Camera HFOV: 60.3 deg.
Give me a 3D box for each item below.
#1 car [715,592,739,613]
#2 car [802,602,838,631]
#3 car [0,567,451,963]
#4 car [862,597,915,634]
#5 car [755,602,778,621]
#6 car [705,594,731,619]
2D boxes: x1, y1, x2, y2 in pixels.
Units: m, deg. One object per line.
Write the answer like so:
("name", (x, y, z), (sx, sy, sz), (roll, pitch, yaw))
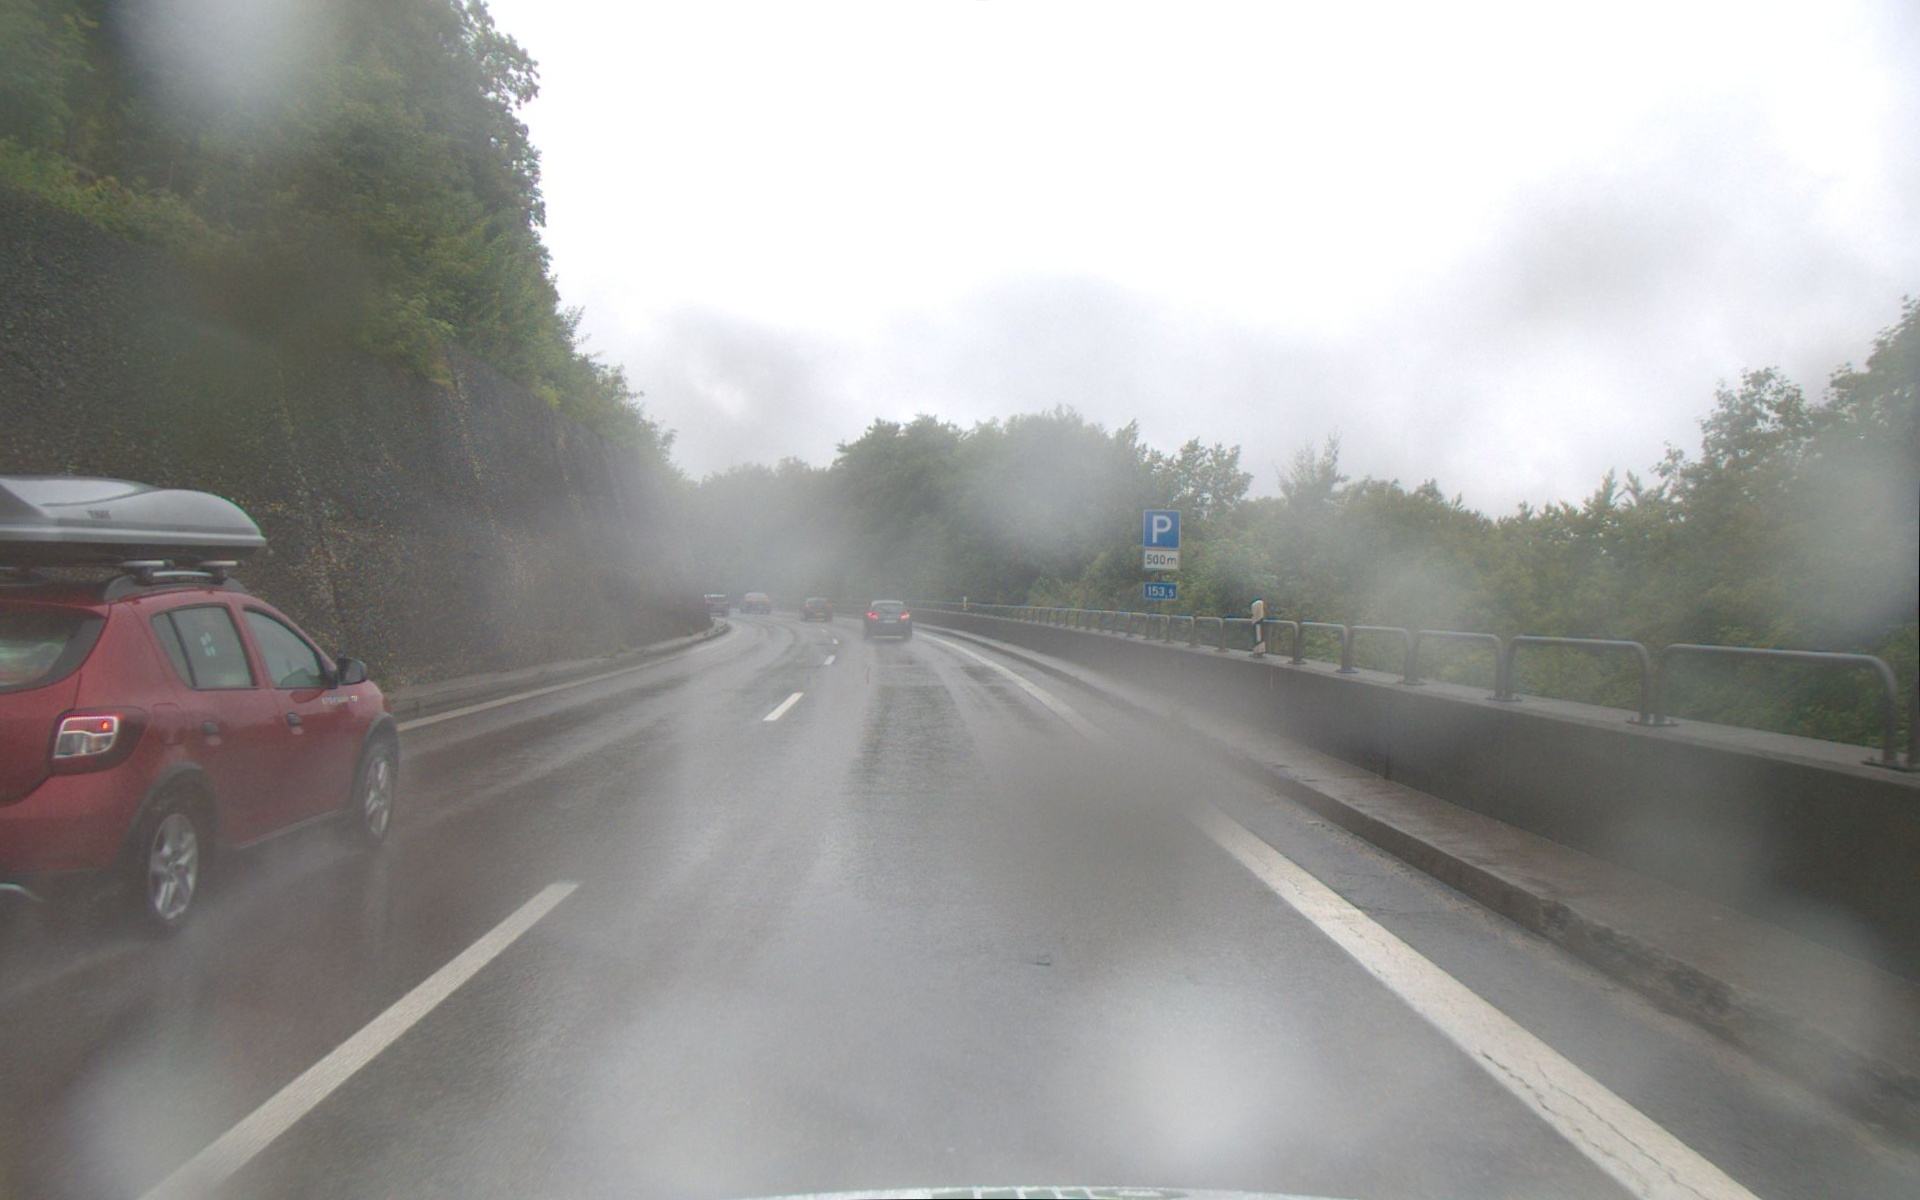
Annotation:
("car", (-23.511, 0.283, 167.033), (1.960, 2.049, 3.985), (1, -1, -14))
("car", (-8.875, 1.024, 104.397), (1.957, 1.780, 3.991), (1, -1, -9))
("car", (-4.225, 0.655, 8.595), (1.953, 1.579, 3.999), (0, 0, -1))
("car", (-2.696, 0.566, 61.924), (1.765, 1.330, 3.995), (0, 0, -6))
("car", (-15.791, 0.944, 134.803), (1.767, 1.492, 3.991), (0, 0, -9))
("car", (-18.789, 0.528, 128.285), (1.957, 1.937, 3.991), (1, -1, -9))
